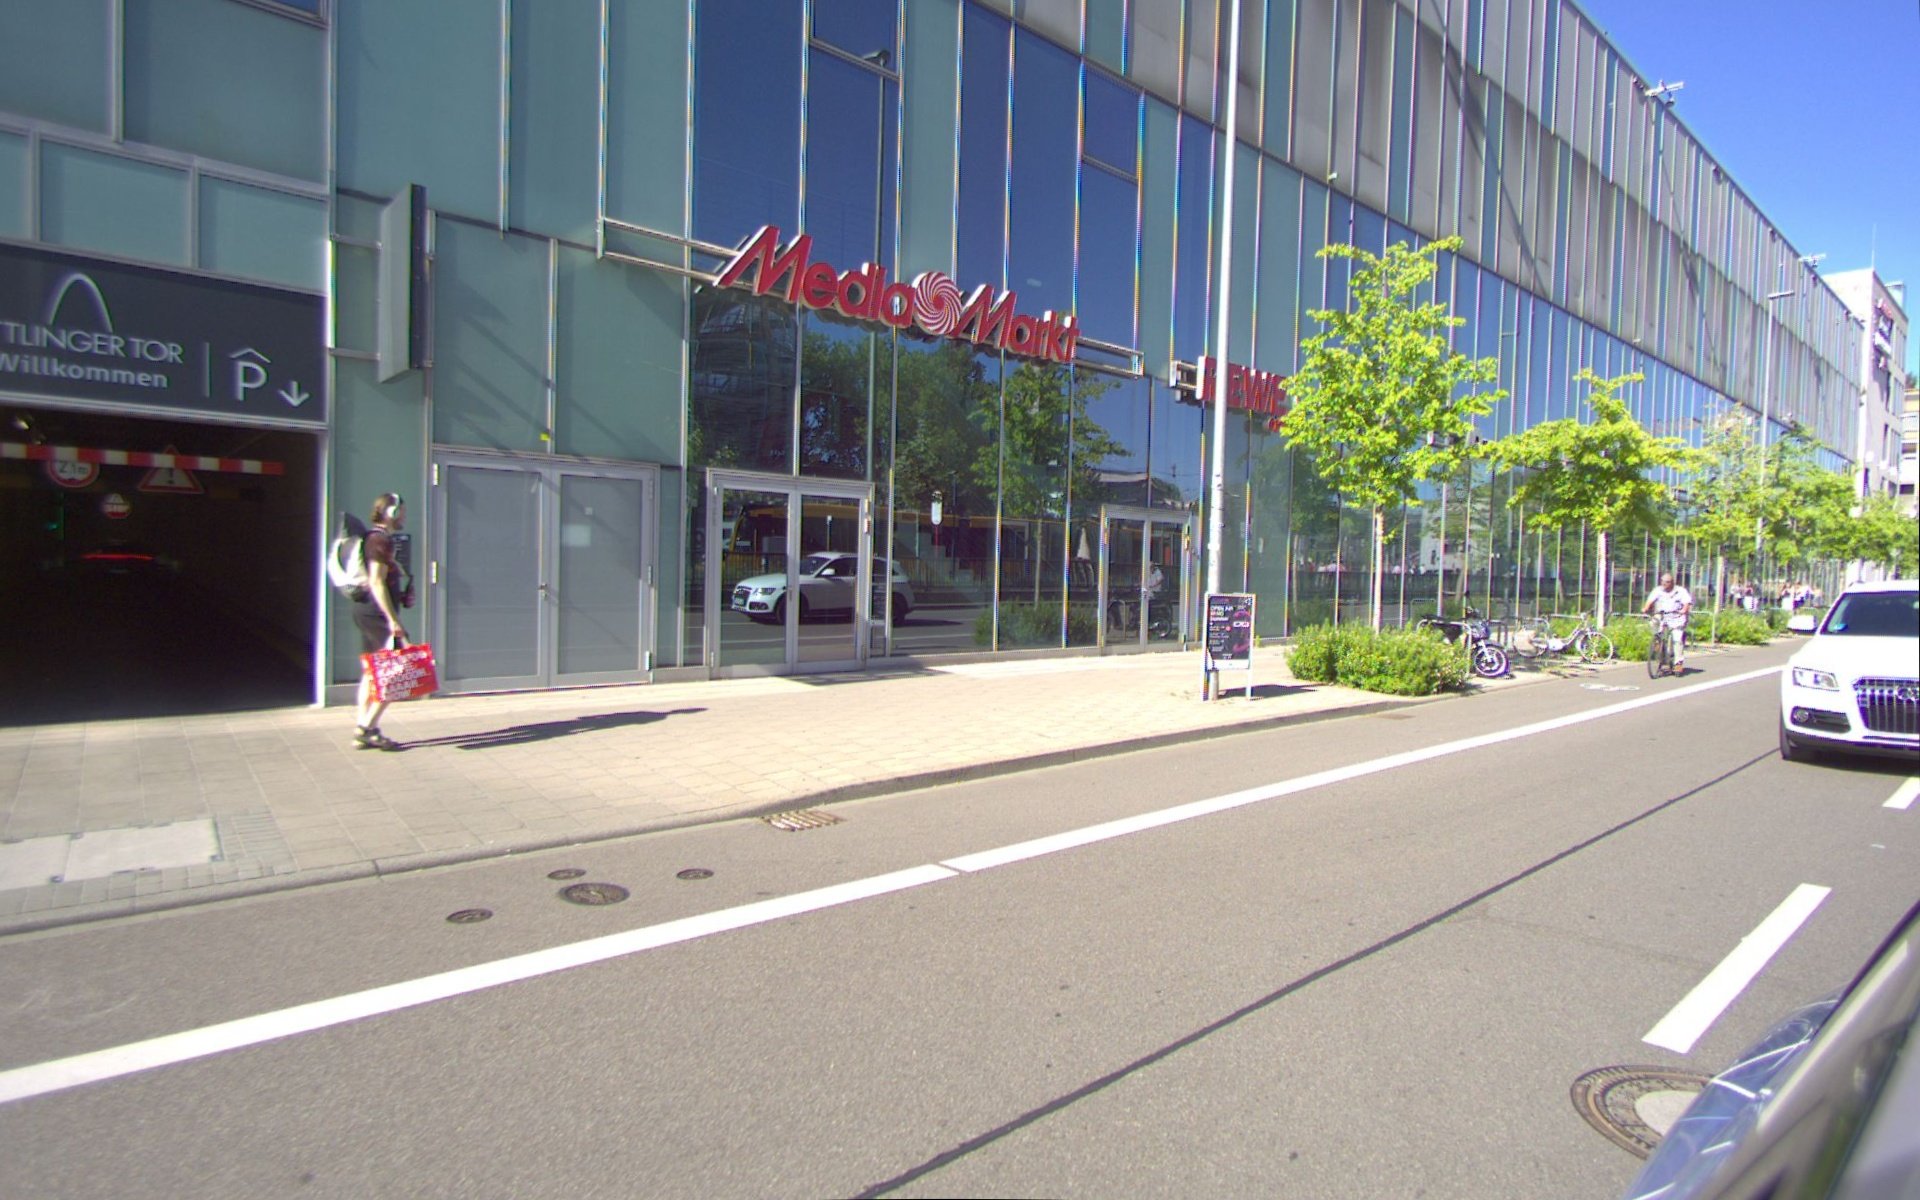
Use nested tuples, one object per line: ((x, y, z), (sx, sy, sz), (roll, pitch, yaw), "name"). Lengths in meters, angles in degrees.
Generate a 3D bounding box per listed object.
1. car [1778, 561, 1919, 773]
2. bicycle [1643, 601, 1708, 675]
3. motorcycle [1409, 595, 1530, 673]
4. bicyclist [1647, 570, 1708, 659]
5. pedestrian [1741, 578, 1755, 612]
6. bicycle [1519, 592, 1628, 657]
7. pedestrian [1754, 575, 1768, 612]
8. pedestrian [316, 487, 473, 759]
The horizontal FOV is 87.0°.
((8.997, 0.507, 9.191), (3.933, 1.654, 1.931), (-1, 1, -43), "car")
((12.301, 0.616, 17.377), (0.608, 1.165, 1.956), (0, 1, 44), "bicycle")
((8.431, 0.528, 16.840), (0.630, 1.095, 1.887), (0, 4, -17), "motorcycle")
((12.293, 0.227, 17.346), (0.754, 1.480, 0.578), (2, 2, 45), "bicyclist")
((37.695, -0.261, 48.411), (0.282, 1.620, 0.450), (0, 1, -40), "pedestrian")
((11.891, 0.457, 19.641), (1.729, 1.075, 0.462), (5, 4, 35), "bicycle")
((38.253, -0.312, 48.316), (0.339, 1.712, 0.450), (0, 1, -40), "pedestrian")
((-4.373, 0.116, 7.828), (0.880, 1.946, 0.877), (-3, 6, -41), "pedestrian")
